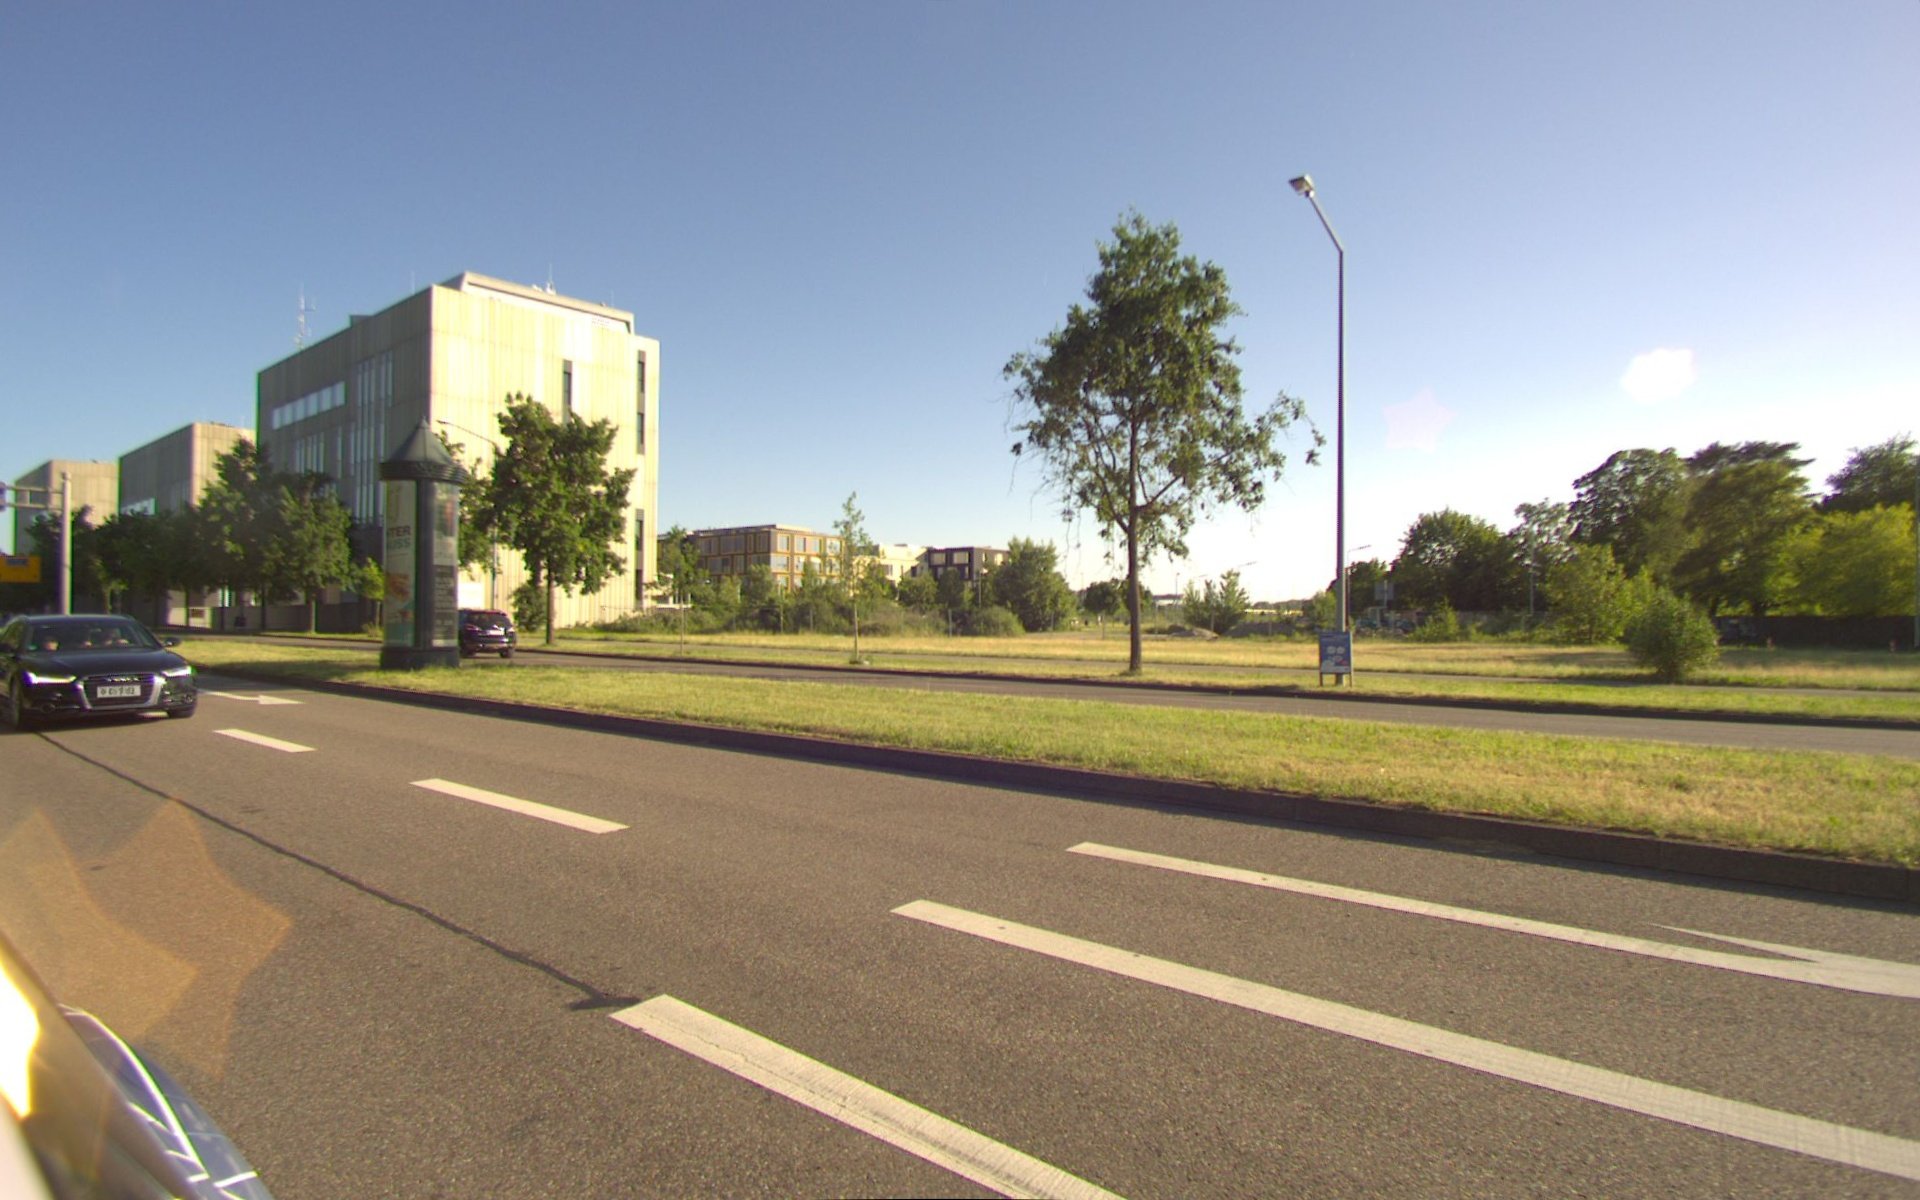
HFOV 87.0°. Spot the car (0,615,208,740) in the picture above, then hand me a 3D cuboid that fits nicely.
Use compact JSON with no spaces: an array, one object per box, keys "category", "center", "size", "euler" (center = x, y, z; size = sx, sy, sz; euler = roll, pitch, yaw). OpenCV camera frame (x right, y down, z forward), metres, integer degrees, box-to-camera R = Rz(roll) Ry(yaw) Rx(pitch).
[{"category":"car","center":[-12.374,0.963,14.168],"size":[5.011,1.454,1.775],"euler":[-1,-1,39]}]

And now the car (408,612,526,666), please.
[{"category":"car","center":[-17.409,1.318,35.665],"size":[4.734,1.752,1.973],"euler":[0,-1,40]}]
